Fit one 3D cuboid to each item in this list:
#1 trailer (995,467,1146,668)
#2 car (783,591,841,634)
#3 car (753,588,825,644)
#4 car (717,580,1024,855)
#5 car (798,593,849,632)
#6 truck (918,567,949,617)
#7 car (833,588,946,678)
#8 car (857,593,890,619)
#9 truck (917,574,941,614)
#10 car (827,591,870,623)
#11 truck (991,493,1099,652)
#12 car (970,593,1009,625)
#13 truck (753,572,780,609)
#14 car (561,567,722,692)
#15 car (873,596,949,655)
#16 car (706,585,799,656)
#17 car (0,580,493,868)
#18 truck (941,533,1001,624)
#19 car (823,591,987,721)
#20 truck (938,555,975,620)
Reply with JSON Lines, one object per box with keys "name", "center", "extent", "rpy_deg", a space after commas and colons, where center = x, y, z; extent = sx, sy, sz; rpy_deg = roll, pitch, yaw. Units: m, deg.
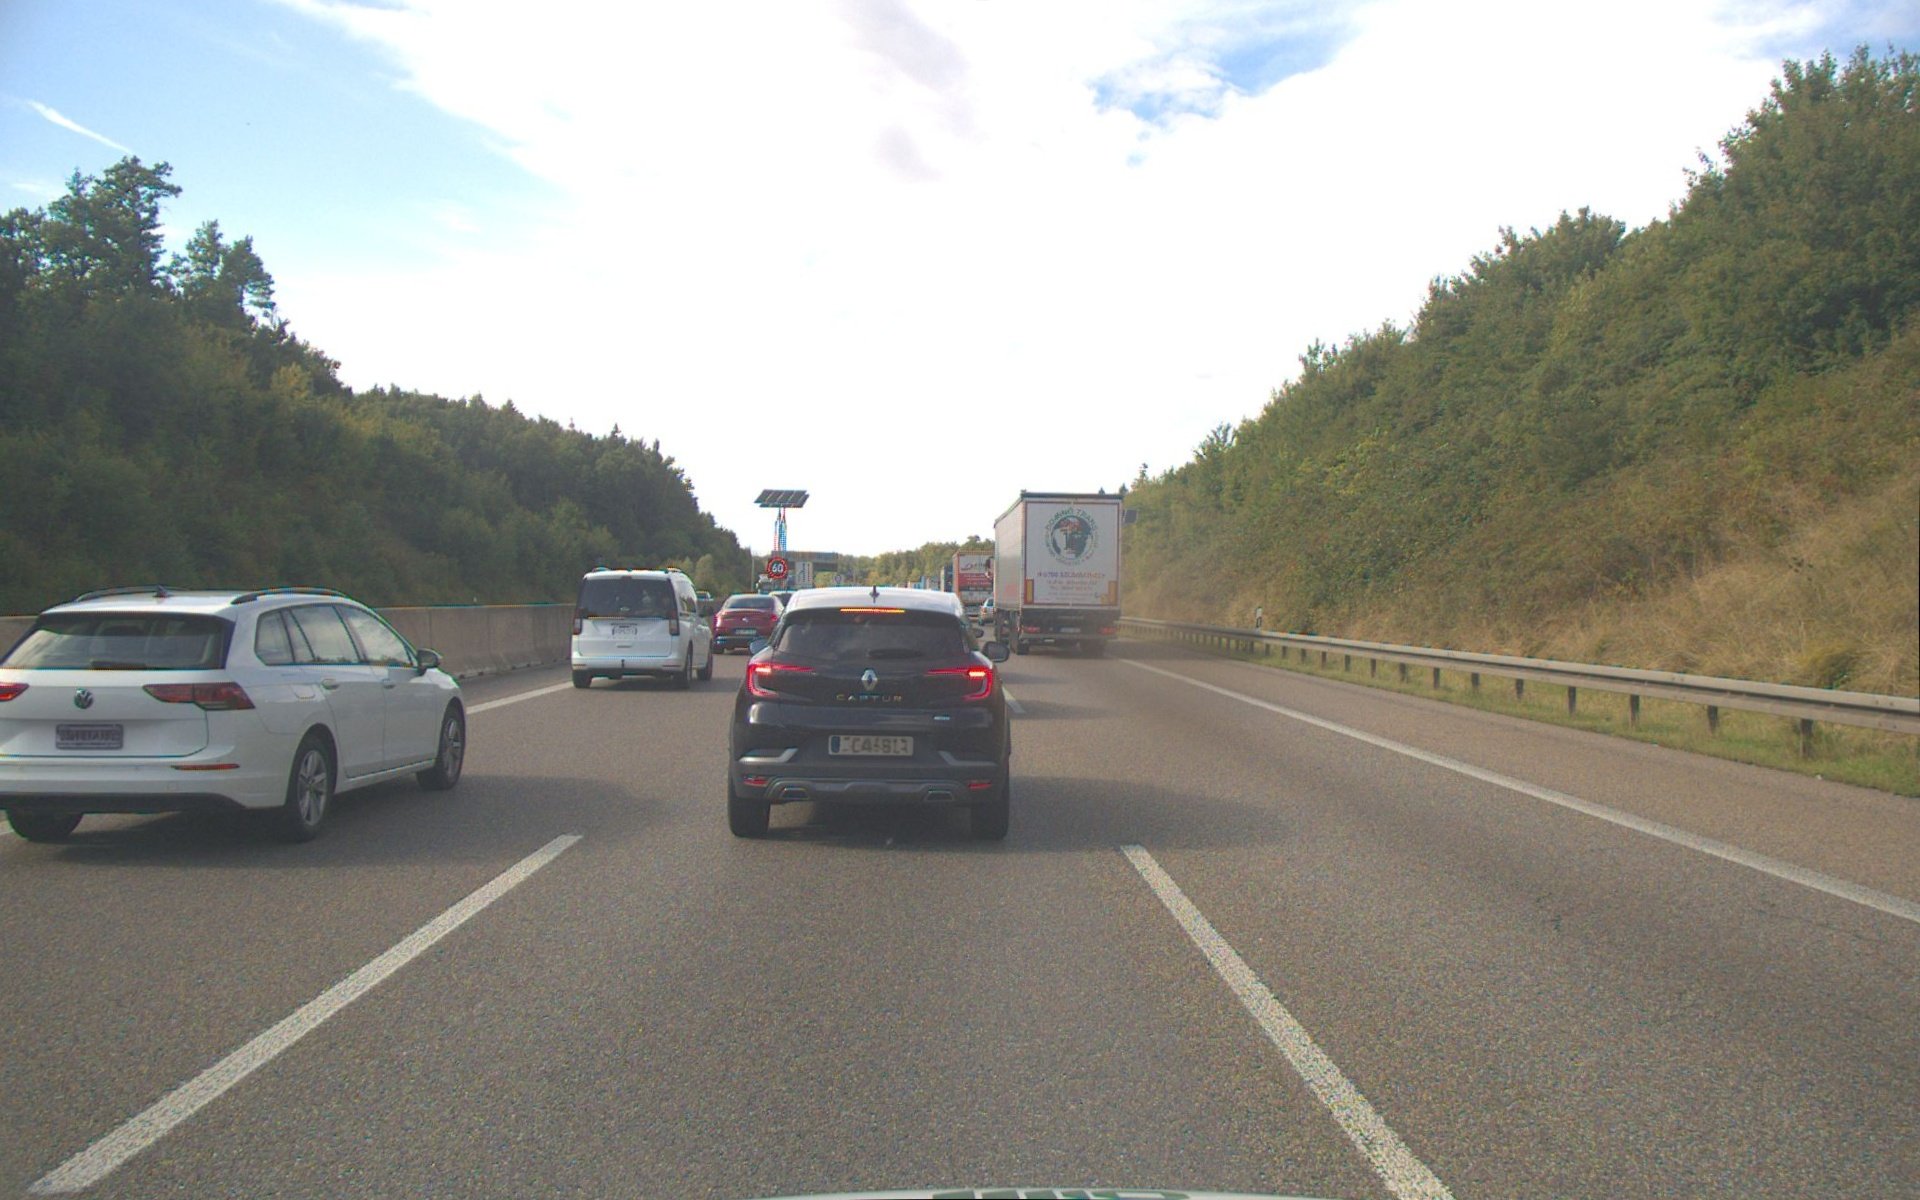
{"name": "trailer", "center": [2.758, -0.794, 45.874], "extent": [2.941, 4.742, 13.286], "rpy_deg": [1, 0, -1]}
{"name": "car", "center": [-5.866, 0.495, 66.019], "extent": [1.953, 1.641, 3.999], "rpy_deg": [1, 0, -1]}
{"name": "car", "center": [-5.577, 0.530, 54.444], "extent": [1.953, 1.752, 3.999], "rpy_deg": [1, 0, -1]}
{"name": "car", "center": [-0.476, 0.681, 11.575], "extent": [1.767, 1.579, 4.001], "rpy_deg": [0, 0, 1]}
{"name": "car", "center": [-6.038, 0.540, 73.550], "extent": [1.953, 1.641, 3.999], "rpy_deg": [1, 0, -1]}
{"name": "truck", "center": [-3.052, -0.849, 192.272], "extent": [3.101, 5.601, 12.738], "rpy_deg": [1, 0, 1]}
{"name": "car", "center": [-1.252, 0.589, 30.838], "extent": [1.953, 1.540, 3.999], "rpy_deg": [1, 0, -1]}
{"name": "car", "center": [-5.671, 0.392, 108.593], "extent": [1.953, 1.641, 3.999], "rpy_deg": [1, 0, -1]}
{"name": "truck", "center": [-4.187, -0.719, 226.906], "extent": [3.102, 5.250, 12.735], "rpy_deg": [1, 0, 0]}
{"name": "car", "center": [-5.752, 0.345, 85.733], "extent": [1.953, 1.641, 3.999], "rpy_deg": [1, 0, -1]}
{"name": "truck", "center": [2.601, -0.825, 52.590], "extent": [2.936, 4.749, 5.937], "rpy_deg": [1, 0, -1]}
{"name": "car", "center": [1.491, 0.477, 84.354], "extent": [1.768, 1.559, 3.924], "rpy_deg": [1, 0, -2]}
{"name": "truck", "center": [-27.833, -1.415, 237.843], "extent": [2.832, 5.182, 10.077], "rpy_deg": [1, 0, -1]}
{"name": "car", "center": [-5.052, 0.451, 26.819], "extent": [1.873, 1.821, 4.415], "rpy_deg": [1, 0, -2]}
{"name": "car", "center": [-1.306, 0.680, 45.487], "extent": [1.953, 1.540, 3.999], "rpy_deg": [1, 0, -1]}
{"name": "car", "center": [-5.153, 0.500, 41.586], "extent": [1.817, 1.669, 3.925], "rpy_deg": [1, 0, 0]}
{"name": "car", "center": [-4.548, 0.656, 10.777], "extent": [1.767, 1.486, 4.308], "rpy_deg": [1, 0, 0]}
{"name": "truck", "center": [0.602, -1.167, 100.124], "extent": [3.296, 5.132, 12.735], "rpy_deg": [1, 0, 0]}
{"name": "car", "center": [-0.681, 0.686, 21.989], "extent": [1.953, 1.540, 3.999], "rpy_deg": [1, 0, -1]}
{"name": "truck", "center": [-0.333, -1.062, 151.338], "extent": [3.102, 5.601, 12.735], "rpy_deg": [1, 0, 0]}
